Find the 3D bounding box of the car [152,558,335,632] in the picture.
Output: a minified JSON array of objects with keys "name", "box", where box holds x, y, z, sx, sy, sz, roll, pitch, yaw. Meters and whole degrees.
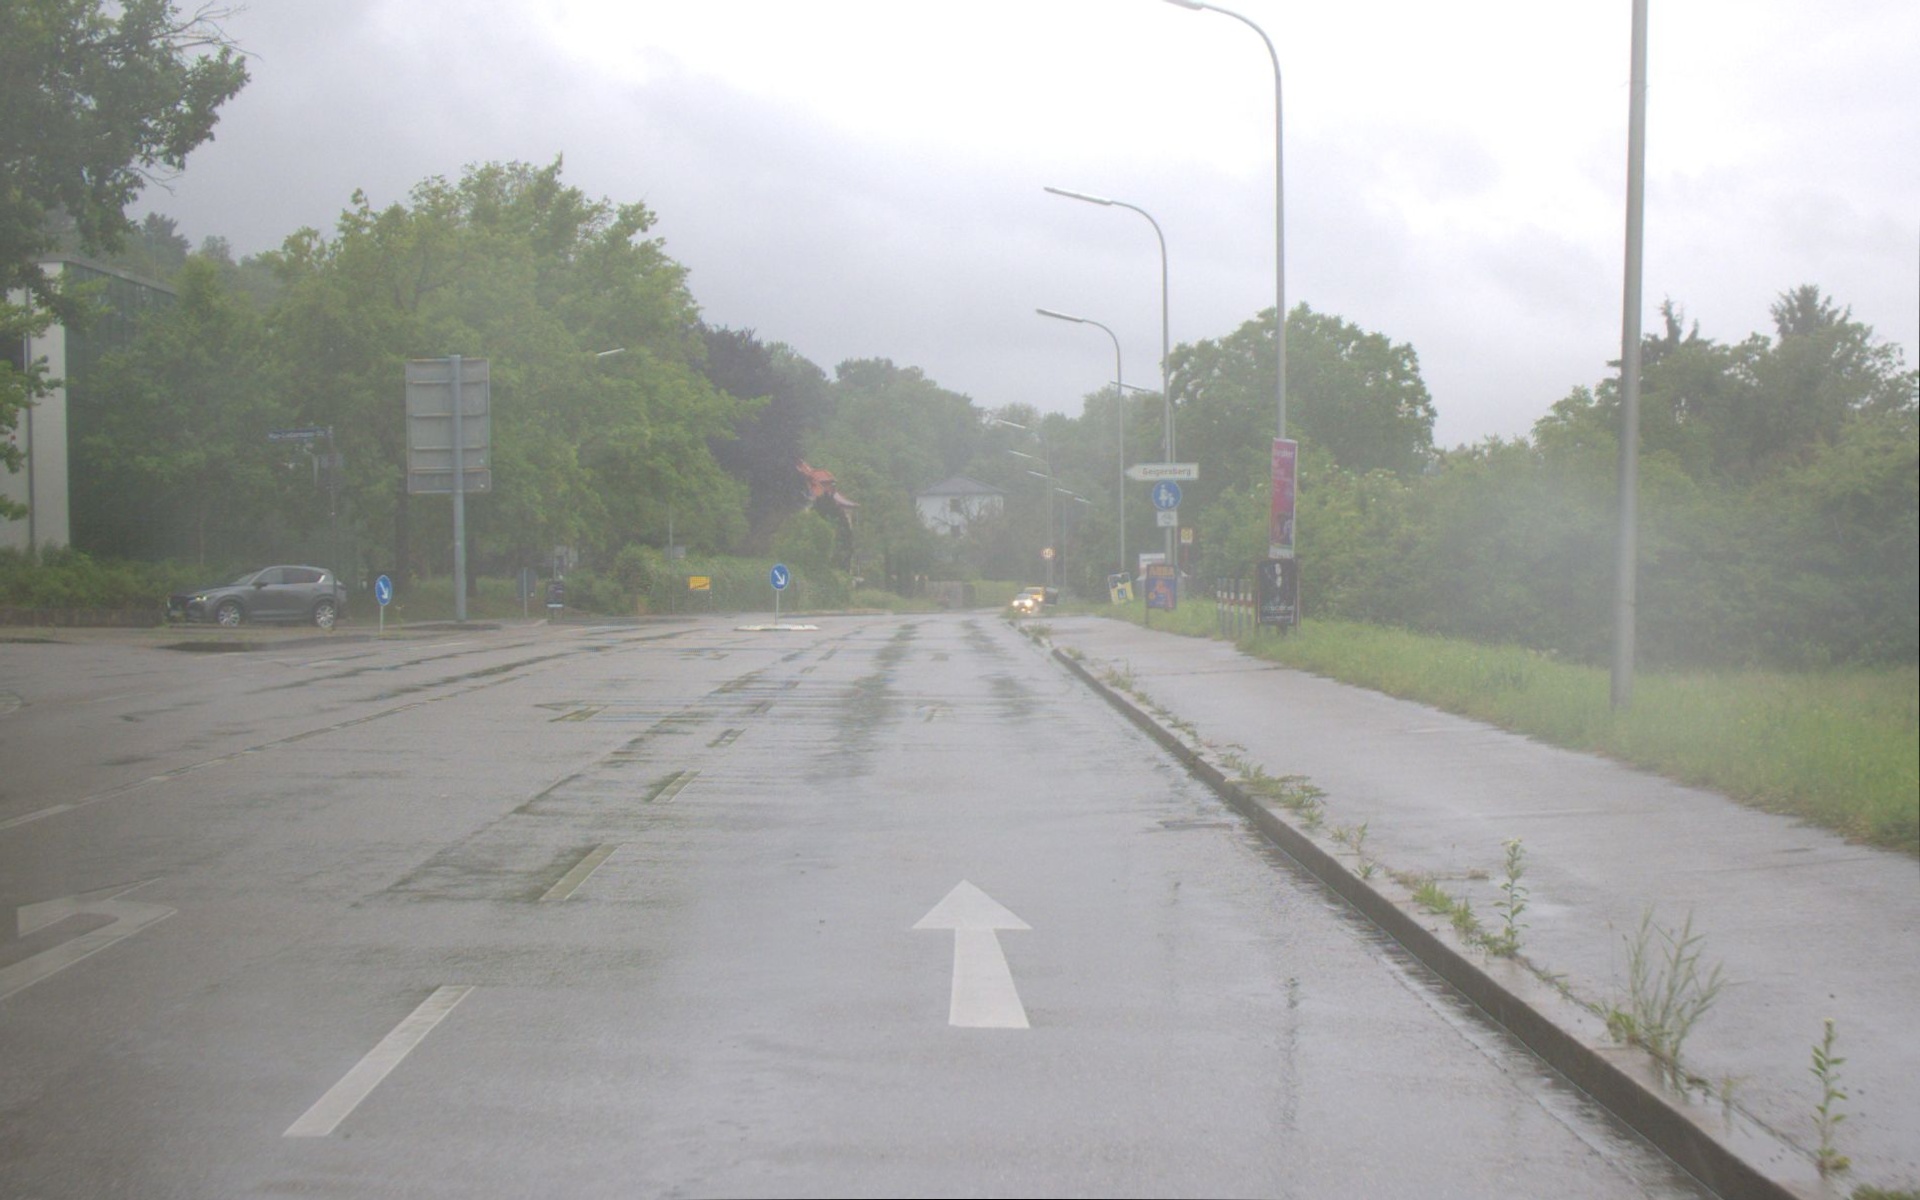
[{"name":"car","box":[-17.451,-0.129,83.809,3.987,1.756,1.800,0,1,-32]}]
